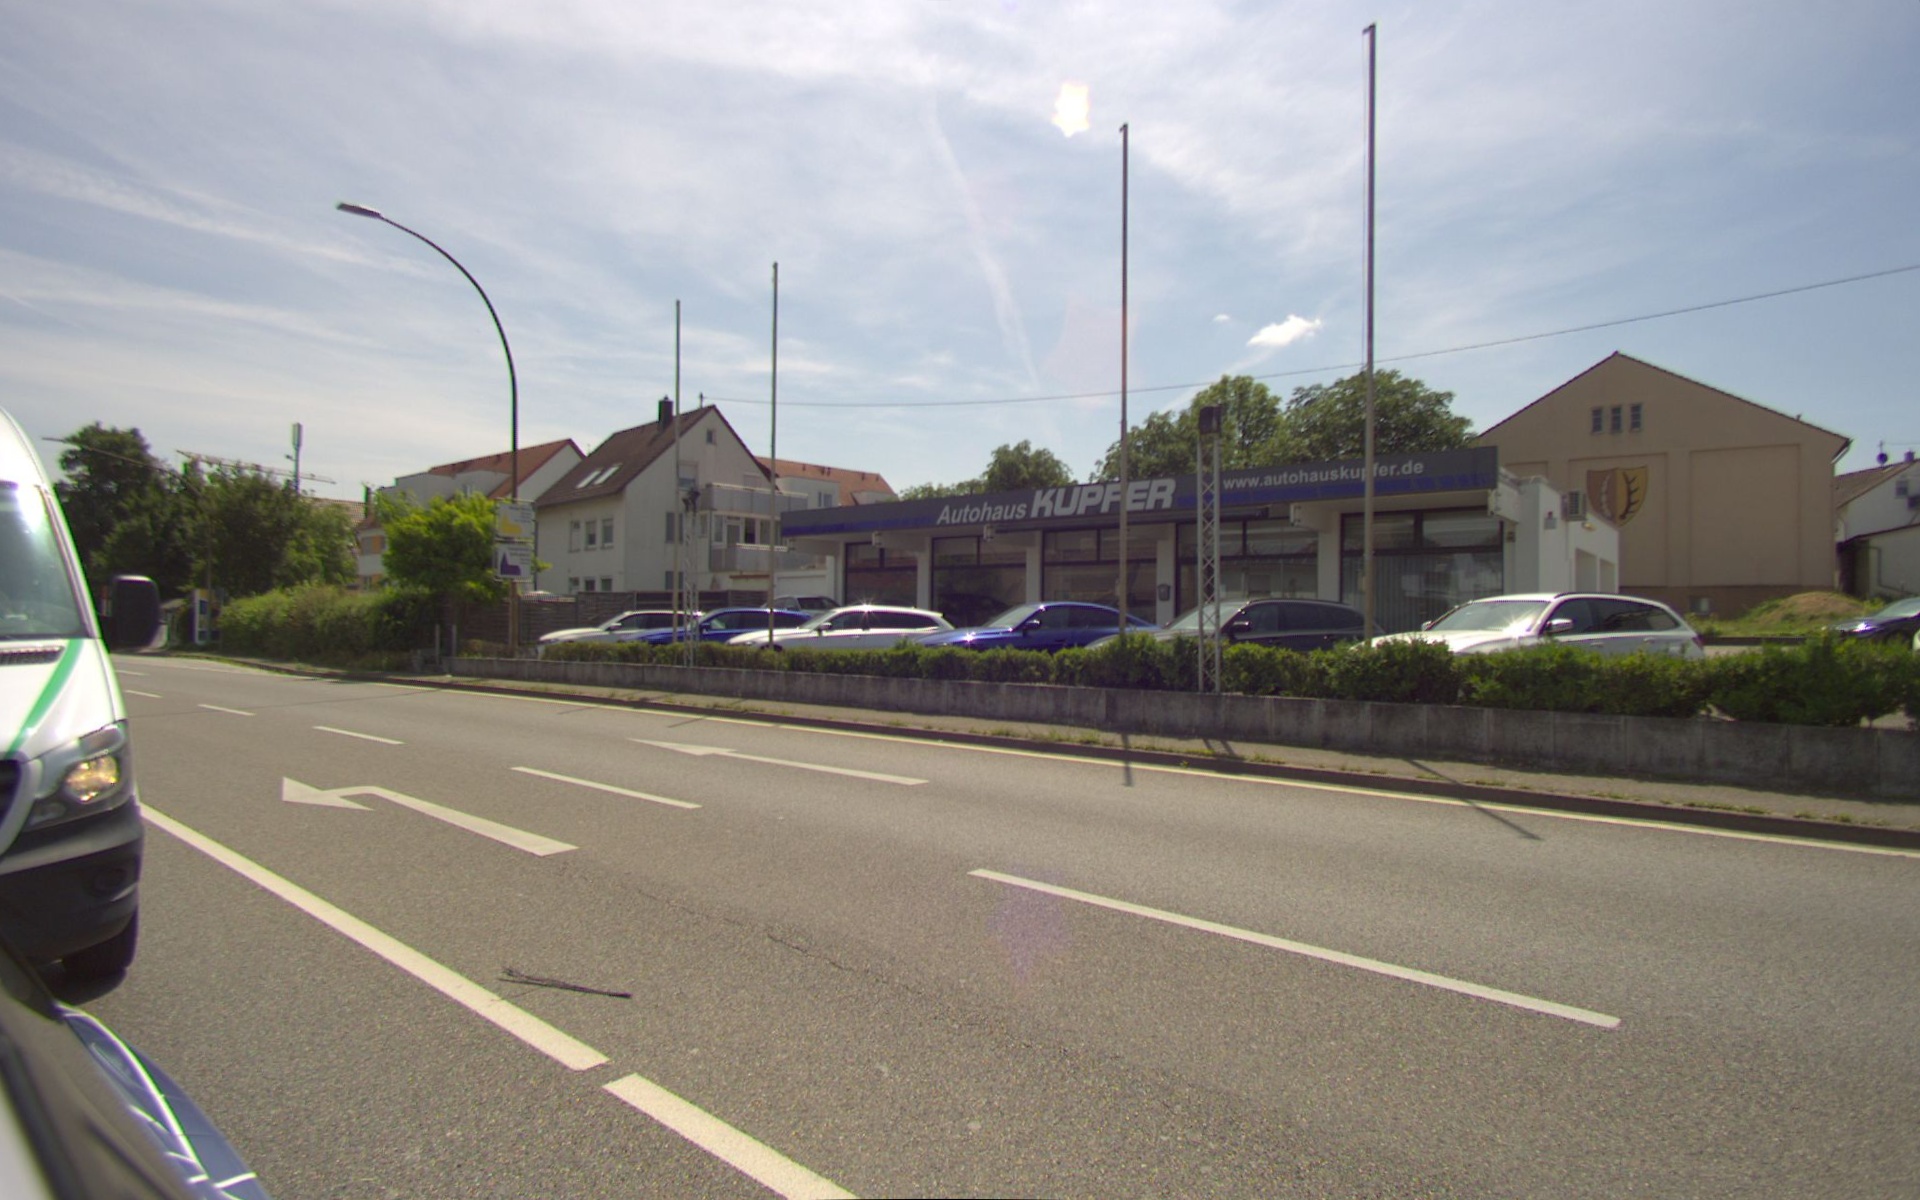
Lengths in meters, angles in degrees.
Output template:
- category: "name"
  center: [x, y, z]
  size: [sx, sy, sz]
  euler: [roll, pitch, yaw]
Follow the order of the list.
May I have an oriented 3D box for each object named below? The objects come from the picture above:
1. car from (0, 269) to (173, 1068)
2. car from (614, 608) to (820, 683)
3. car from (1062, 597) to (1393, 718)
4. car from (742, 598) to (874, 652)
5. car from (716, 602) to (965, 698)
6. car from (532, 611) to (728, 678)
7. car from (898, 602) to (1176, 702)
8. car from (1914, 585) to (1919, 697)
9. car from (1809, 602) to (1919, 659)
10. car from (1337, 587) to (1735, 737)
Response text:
- category: "car"
  center: [-5.574, 0.264, 4.702]
  size: [5.745, 2.548, 1.914]
  euler: [-1, -1, 40]
- category: "car"
  center: [-5.448, 0.960, 22.616]
  size: [4.267, 1.458, 1.863]
  euler: [-1, 0, -21]
- category: "car"
  center: [3.784, 0.705, 14.317]
  size: [4.267, 1.458, 1.905]
  euler: [-1, 0, -24]
- category: "car"
  center: [-4.622, 0.732, 30.337]
  size: [1.781, 1.475, 4.589]
  euler: [-1, 0, -40]
- category: "car"
  center: [-2.345, 0.897, 19.657]
  size: [4.438, 1.458, 1.863]
  euler: [-3, 1, -19]
- category: "car"
  center: [-8.222, 1.065, 25.341]
  size: [4.501, 1.458, 1.863]
  euler: [-1, 0, -21]
- category: "car"
  center: [1.285, 0.797, 17.052]
  size: [4.267, 1.458, 1.863]
  euler: [-1, 0, -22]
- category: "car"
  center: [15.156, 0.520, 14.224]
  size: [3.934, 1.521, 1.839]
  euler: [-1, -1, -36]
- category: "car"
  center: [23.509, 0.690, 24.703]
  size: [3.946, 1.231, 1.791]
  euler: [-2, 0, 2]
- category: "car"
  center: [6.706, 0.604, 11.773]
  size: [4.267, 1.458, 1.863]
  euler: [-1, 0, -24]
